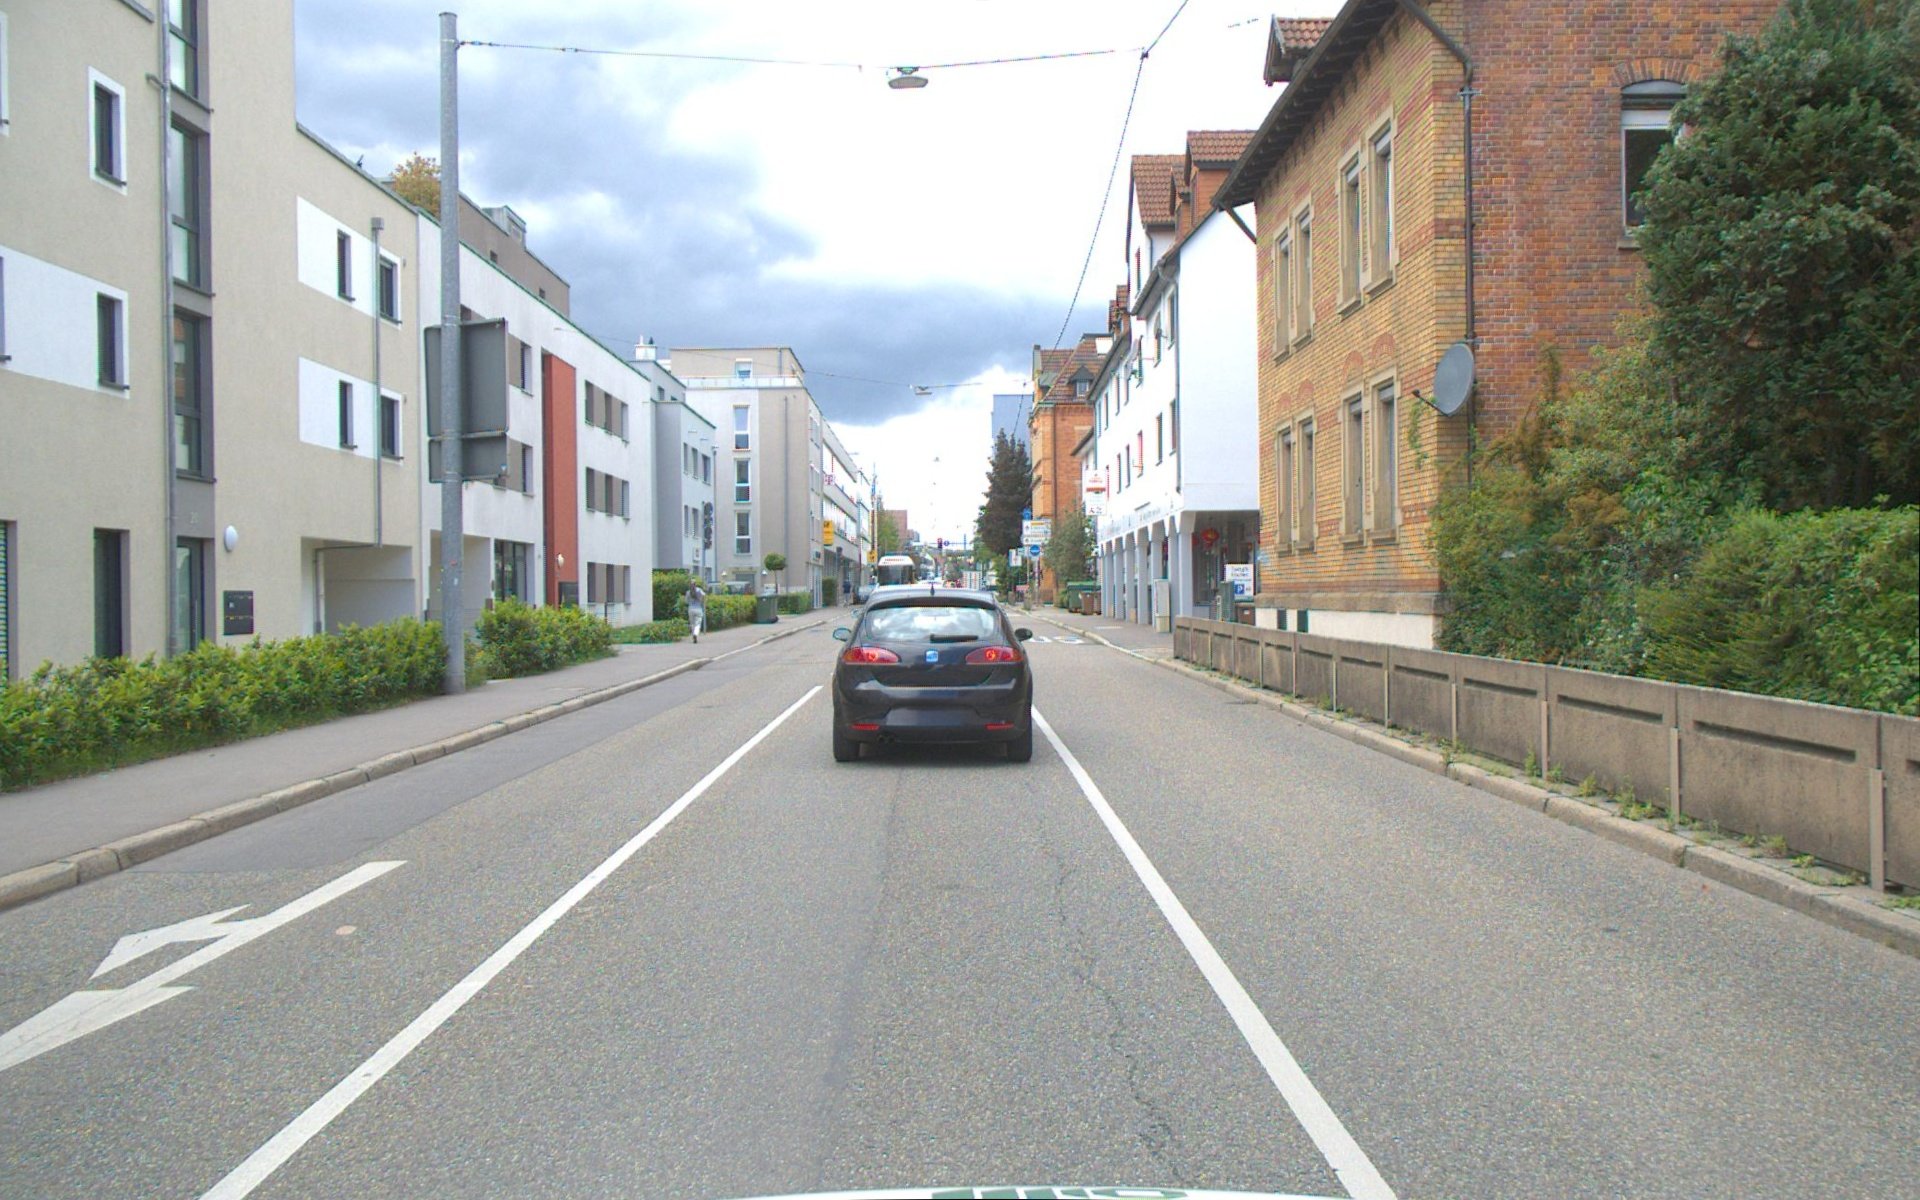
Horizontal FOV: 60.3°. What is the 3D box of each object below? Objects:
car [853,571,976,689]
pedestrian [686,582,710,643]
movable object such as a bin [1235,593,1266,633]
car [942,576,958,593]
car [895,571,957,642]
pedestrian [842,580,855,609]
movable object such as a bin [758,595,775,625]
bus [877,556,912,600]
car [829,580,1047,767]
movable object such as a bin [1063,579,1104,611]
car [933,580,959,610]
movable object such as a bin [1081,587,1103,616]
[{"bbox_3d":[-0.706,0.445,26.531,1.805,1.723,3.999,1,0,-1],"label":"car"},{"bbox_3d":[-6.817,0.319,43.073,0.516,1.575,0.541,1,0,-1],"label":"pedestrian"},{"bbox_3d":[6.292,0.271,35.805,0.580,0.854,0.458,1,0,-1],"label":"movable object such as a bin"},{"bbox_3d":[-1.032,-1.558,167.528,1.500,1.722,3.692,-1,0,-1],"label":"car"},{"bbox_3d":[-0.862,0.159,42.425,1.500,1.723,3.692,1,0,-1],"label":"car"},{"bbox_3d":[-6.791,-0.323,100.478,0.716,1.759,0.859,1,0,-1],"label":"pedestrian"},{"bbox_3d":[-7.187,0.371,61.399,0.538,1.097,0.612,1,0,0],"label":"movable object such as a bin"},{"bbox_3d":[-4.576,-1.495,116.665,2.165,2.936,8.918,1,0,0],"label":"bus"},{"bbox_3d":[-0.193,0.587,15.148,1.723,1.467,3.999,1,0,-1],"label":"car"},{"bbox_3d":[5.860,-0.232,78.534,1.780,1.462,1.993,1,0,0],"label":"movable object such as a bin"},{"bbox_3d":[-0.855,-0.296,99.352,1.500,1.723,3.692,1,0,-1],"label":"car"},{"bbox_3d":[5.941,0.075,74.221,0.909,1.306,0.883,1,0,0],"label":"movable object such as a bin"}]
